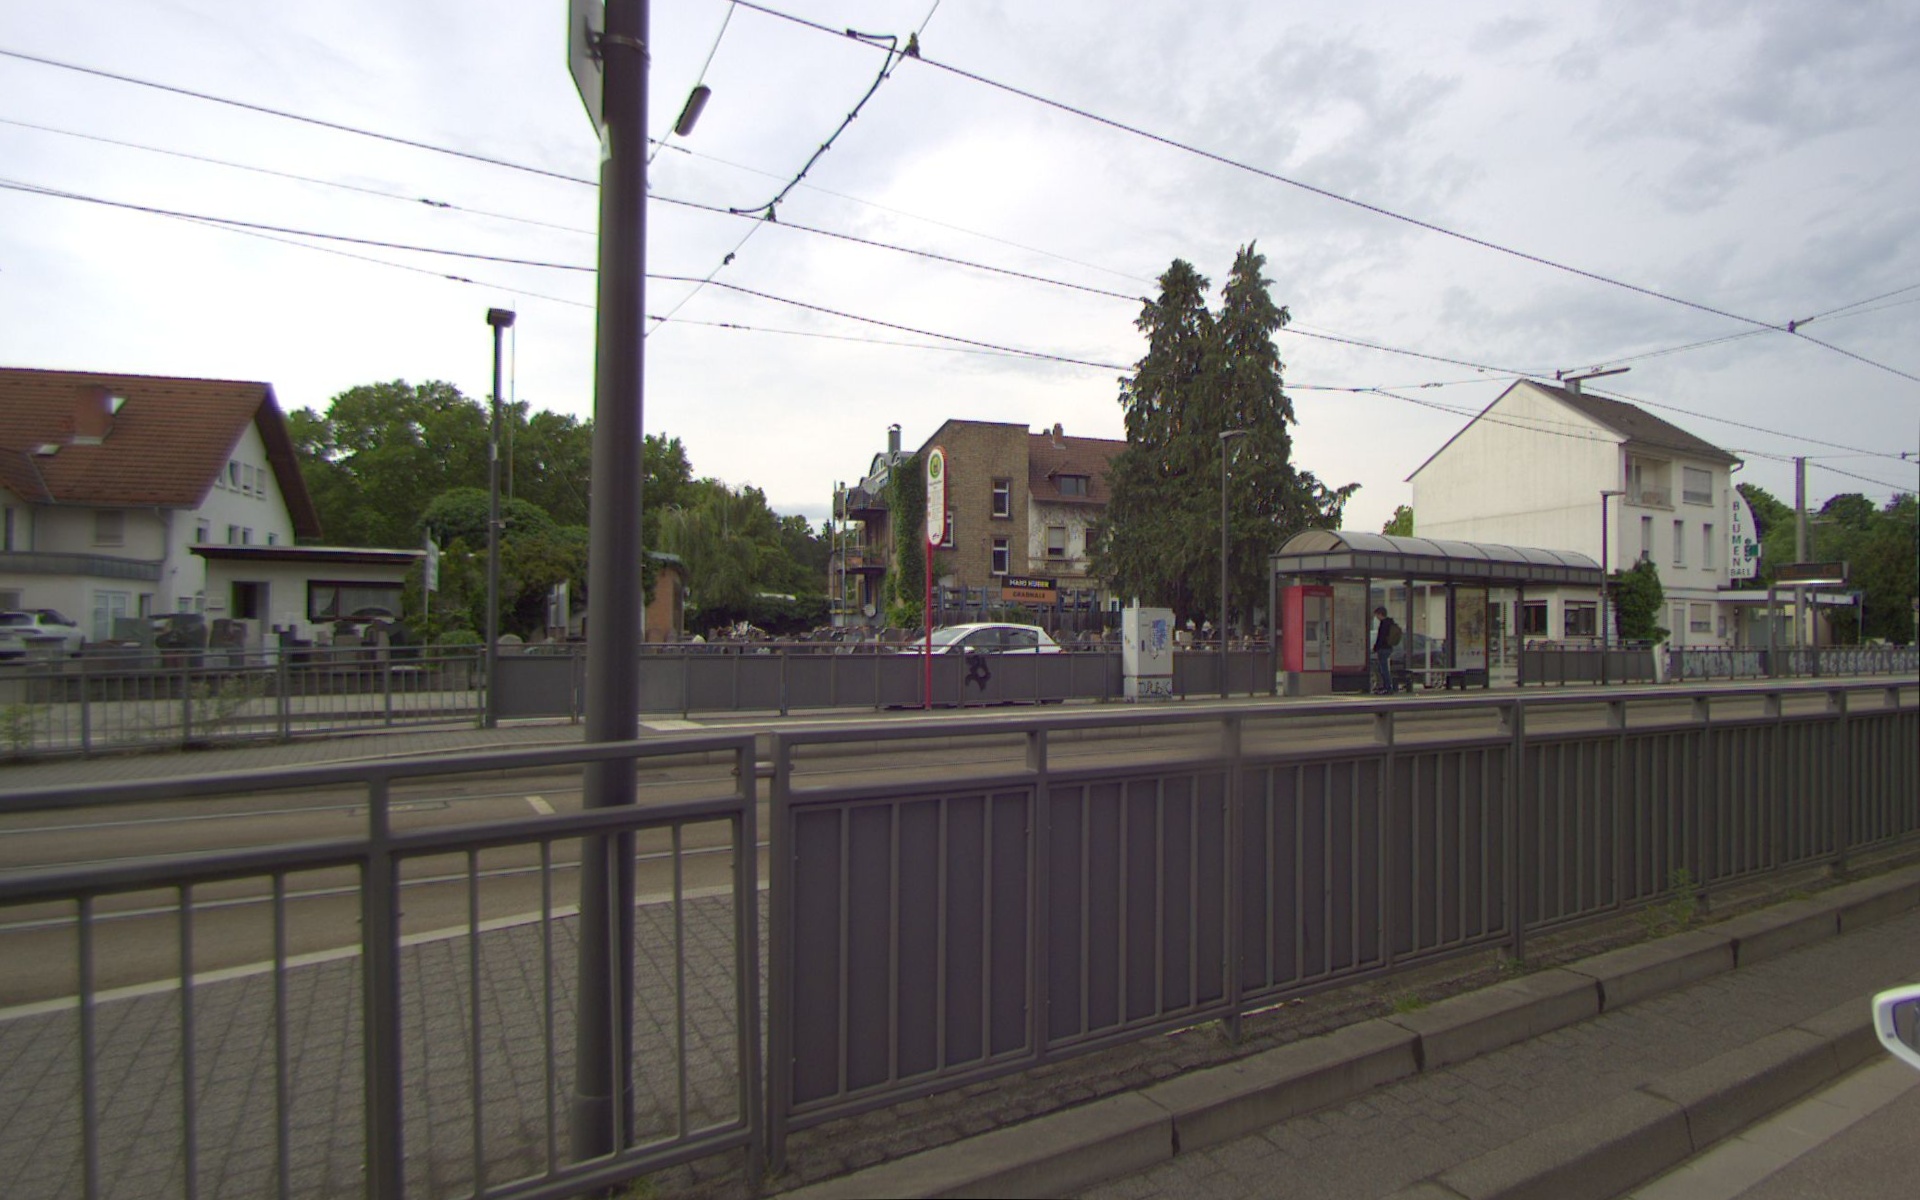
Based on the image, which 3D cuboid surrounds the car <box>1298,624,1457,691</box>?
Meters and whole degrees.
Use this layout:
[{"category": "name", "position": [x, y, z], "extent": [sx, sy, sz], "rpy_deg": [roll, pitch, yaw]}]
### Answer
[{"category": "car", "position": [10.087, 1.371, 24.182], "extent": [3.962, 1.470, 1.751], "rpy_deg": [3, -2, -36]}]

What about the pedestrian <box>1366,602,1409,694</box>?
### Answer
[{"category": "pedestrian", "position": [8.072, 0.887, 18.974], "extent": [0.684, 1.686, 0.616], "rpy_deg": [1, -1, 27]}]

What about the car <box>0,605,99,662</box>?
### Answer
[{"category": "car", "position": [-25.085, 0.871, 27.207], "extent": [1.670, 1.432, 3.853], "rpy_deg": [2, -1, -25]}]

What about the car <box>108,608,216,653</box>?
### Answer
[{"category": "car", "position": [-27.567, 1.031, 34.826], "extent": [1.690, 1.454, 3.635], "rpy_deg": [2, -1, -17]}]

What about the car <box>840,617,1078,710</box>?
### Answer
[{"category": "car", "position": [0.017, 1.121, 18.116], "extent": [3.958, 1.505, 1.853], "rpy_deg": [1, -4, -34]}]
